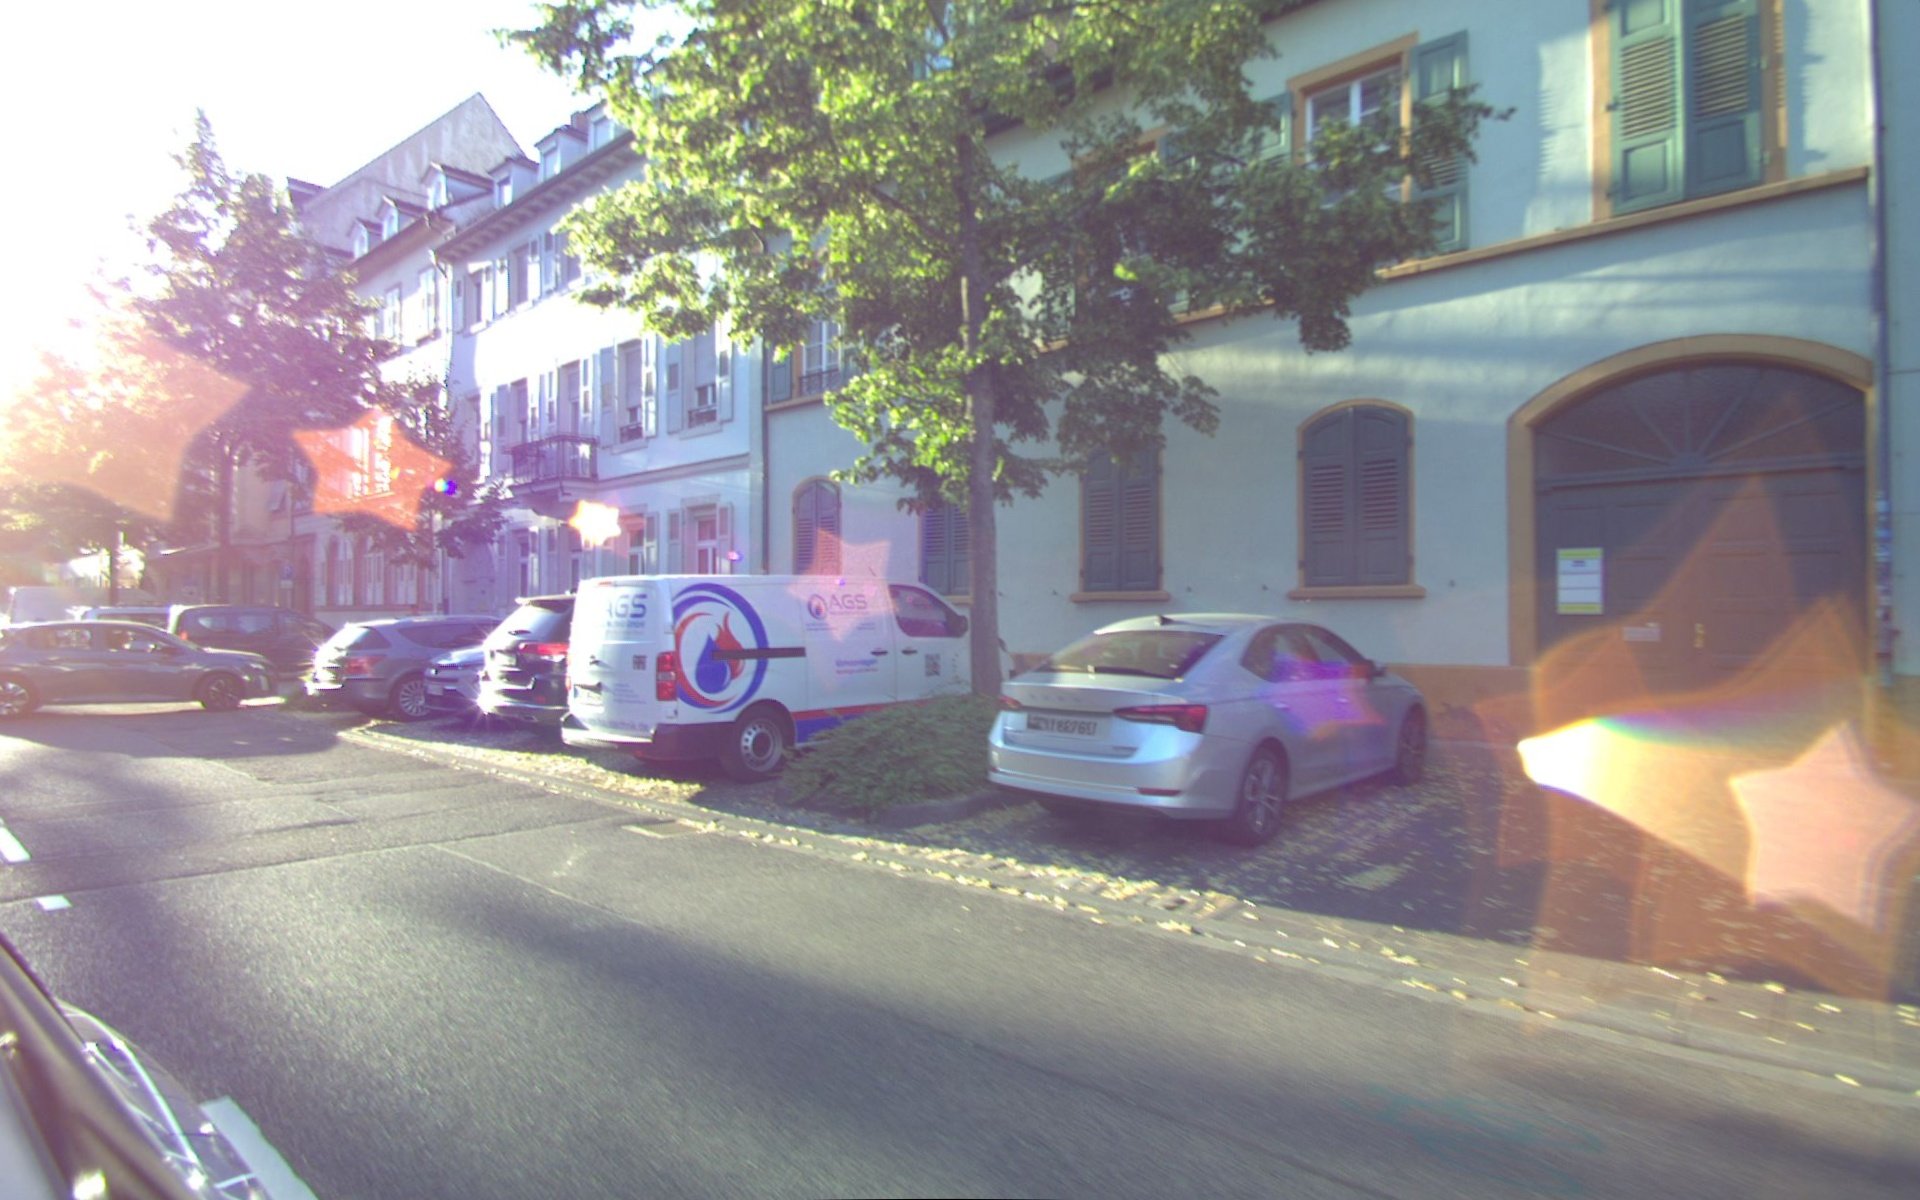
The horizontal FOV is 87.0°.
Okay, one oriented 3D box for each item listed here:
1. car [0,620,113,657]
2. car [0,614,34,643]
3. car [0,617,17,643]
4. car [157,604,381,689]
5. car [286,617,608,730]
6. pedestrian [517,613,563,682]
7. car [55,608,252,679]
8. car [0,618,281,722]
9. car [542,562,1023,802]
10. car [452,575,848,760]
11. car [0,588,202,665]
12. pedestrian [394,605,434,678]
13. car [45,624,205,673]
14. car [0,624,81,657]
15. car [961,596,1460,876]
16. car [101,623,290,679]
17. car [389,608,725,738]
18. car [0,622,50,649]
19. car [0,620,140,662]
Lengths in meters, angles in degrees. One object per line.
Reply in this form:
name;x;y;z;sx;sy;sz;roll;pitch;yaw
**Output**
car;-40.768;1.710;45.244;1.969;1.494;4.143;-2;0;40
car;-61.604;1.853;63.724;2.052;1.825;4.657;-2;0;42
car;-66.722;2.037;68.173;1.945;1.796;4.509;-1;-1;40
car;-16.243;1.036;23.928;1.807;1.820;4.093;-2;-2;43
car;-7.760;1.017;15.584;1.962;1.495;3.995;-2;-2;41
pedestrian;-9.624;1.085;23.192;0.796;1.533;0.689;-2;-1;40
car;-24.259;1.248;30.565;1.919;1.968;4.450;-2;-1;43
car;-13.224;1.044;16.043;4.005;1.472;1.689;0;-2;-37
car;-1.592;0.701;10.620;1.973;1.922;4.819;-2;-2;41
car;-3.669;0.732;12.608;1.893;1.884;4.381;-2;-2;42
car;-32.046;0.914;37.808;2.170;2.641;5.600;-2;0;41
pedestrian;-13.966;1.055;25.873;0.779;1.815;0.655;-1;-2;41
car;-28.112;1.583;34.169;1.748;1.414;3.947;0;0;40
car;-46.358;2.018;50.205;1.695;1.459;3.877;-2;0;38
car;2.155;0.744;7.687;1.734;1.496;4.429;-2;-1;43
car;-21.828;1.406;29.021;1.593;1.450;4.107;-2;-1;42
car;-5.583;0.922;14.334;1.965;1.567;3.992;-2;-2;43
car;-55.651;2.089;58.483;1.821;1.434;4.337;-2;0;41
car;-36.649;1.639;41.713;1.792;1.517;4.169;-2;0;41
